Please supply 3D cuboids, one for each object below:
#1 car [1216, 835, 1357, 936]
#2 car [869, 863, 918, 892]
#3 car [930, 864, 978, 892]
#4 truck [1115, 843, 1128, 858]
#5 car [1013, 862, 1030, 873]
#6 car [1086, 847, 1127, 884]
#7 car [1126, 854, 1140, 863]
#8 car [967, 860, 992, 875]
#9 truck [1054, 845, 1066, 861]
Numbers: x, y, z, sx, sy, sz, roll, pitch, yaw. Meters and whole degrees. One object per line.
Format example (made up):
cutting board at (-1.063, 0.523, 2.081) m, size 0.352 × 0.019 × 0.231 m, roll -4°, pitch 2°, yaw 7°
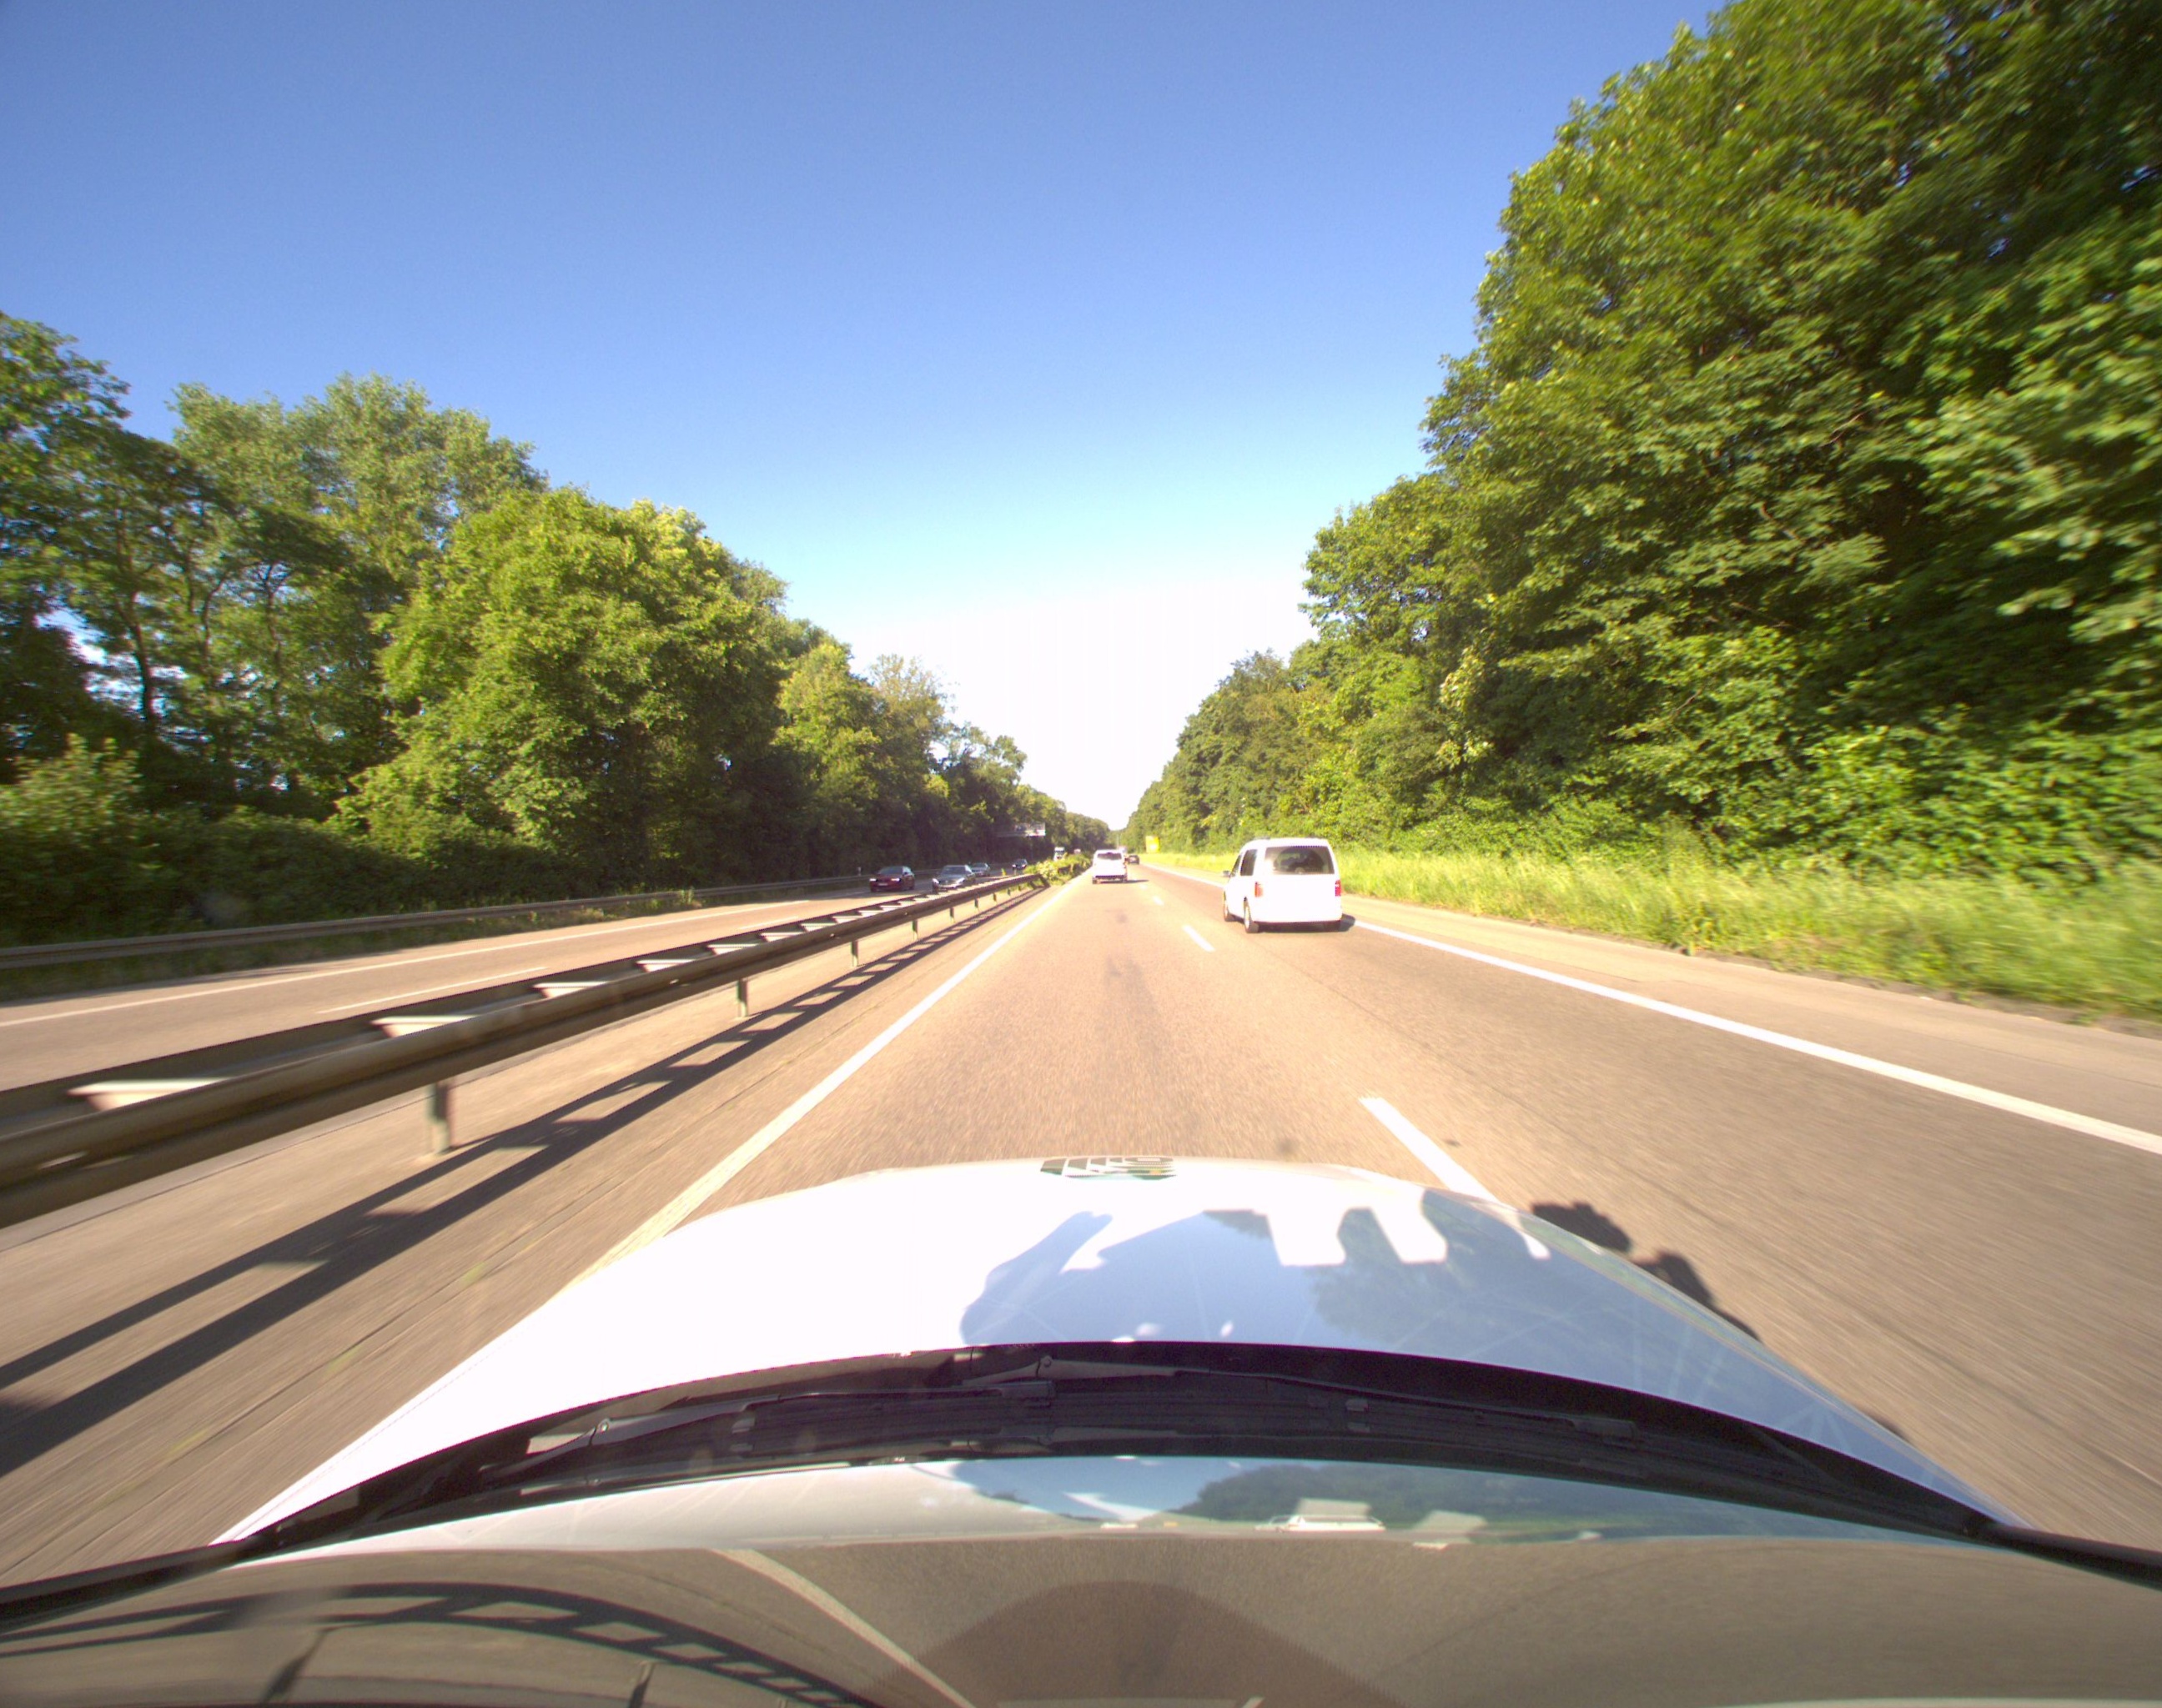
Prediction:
car at (4.050, 0.553, 16.839) m, size 1.857 × 1.770 × 4.471 m, roll -1°, pitch 0°, yaw 1°
car at (-10.784, 1.322, 47.002) m, size 1.712 × 1.445 × 4.229 m, roll -2°, pitch 0°, yaw 1°
car at (-6.912, 1.304, 44.875) m, size 1.828 × 1.357 × 4.476 m, roll -1°, pitch 0°, yaw 1°
truck at (11.709, -0.892, 235.924) m, size 3.483 × 4.172 × 8.865 m, roll -2°, pitch 0°, yaw 2°
car at (-7.965, 1.760, 108.888) m, size 1.711 × 1.357 × 3.949 m, roll -1°, pitch -1°, yaw 3°
car at (1.326, 0.588, 43.857) m, size 2.079 × 1.828 × 3.999 m, roll -1°, pitch 0°, yaw 0°
car at (7.875, 0.660, 122.933) m, size 1.986 × 1.398 × 4.001 m, roll -1°, pitch 0°, yaw 2°
car at (-9.651, 1.265, 77.561) m, size 1.712 × 1.357 × 4.229 m, roll -2°, pitch 0°, yaw 1°
truck at (-5.218, -0.285, 206.805) m, size 2.752 × 3.712 × 7.855 m, roll -2°, pitch 0°, yaw 0°
